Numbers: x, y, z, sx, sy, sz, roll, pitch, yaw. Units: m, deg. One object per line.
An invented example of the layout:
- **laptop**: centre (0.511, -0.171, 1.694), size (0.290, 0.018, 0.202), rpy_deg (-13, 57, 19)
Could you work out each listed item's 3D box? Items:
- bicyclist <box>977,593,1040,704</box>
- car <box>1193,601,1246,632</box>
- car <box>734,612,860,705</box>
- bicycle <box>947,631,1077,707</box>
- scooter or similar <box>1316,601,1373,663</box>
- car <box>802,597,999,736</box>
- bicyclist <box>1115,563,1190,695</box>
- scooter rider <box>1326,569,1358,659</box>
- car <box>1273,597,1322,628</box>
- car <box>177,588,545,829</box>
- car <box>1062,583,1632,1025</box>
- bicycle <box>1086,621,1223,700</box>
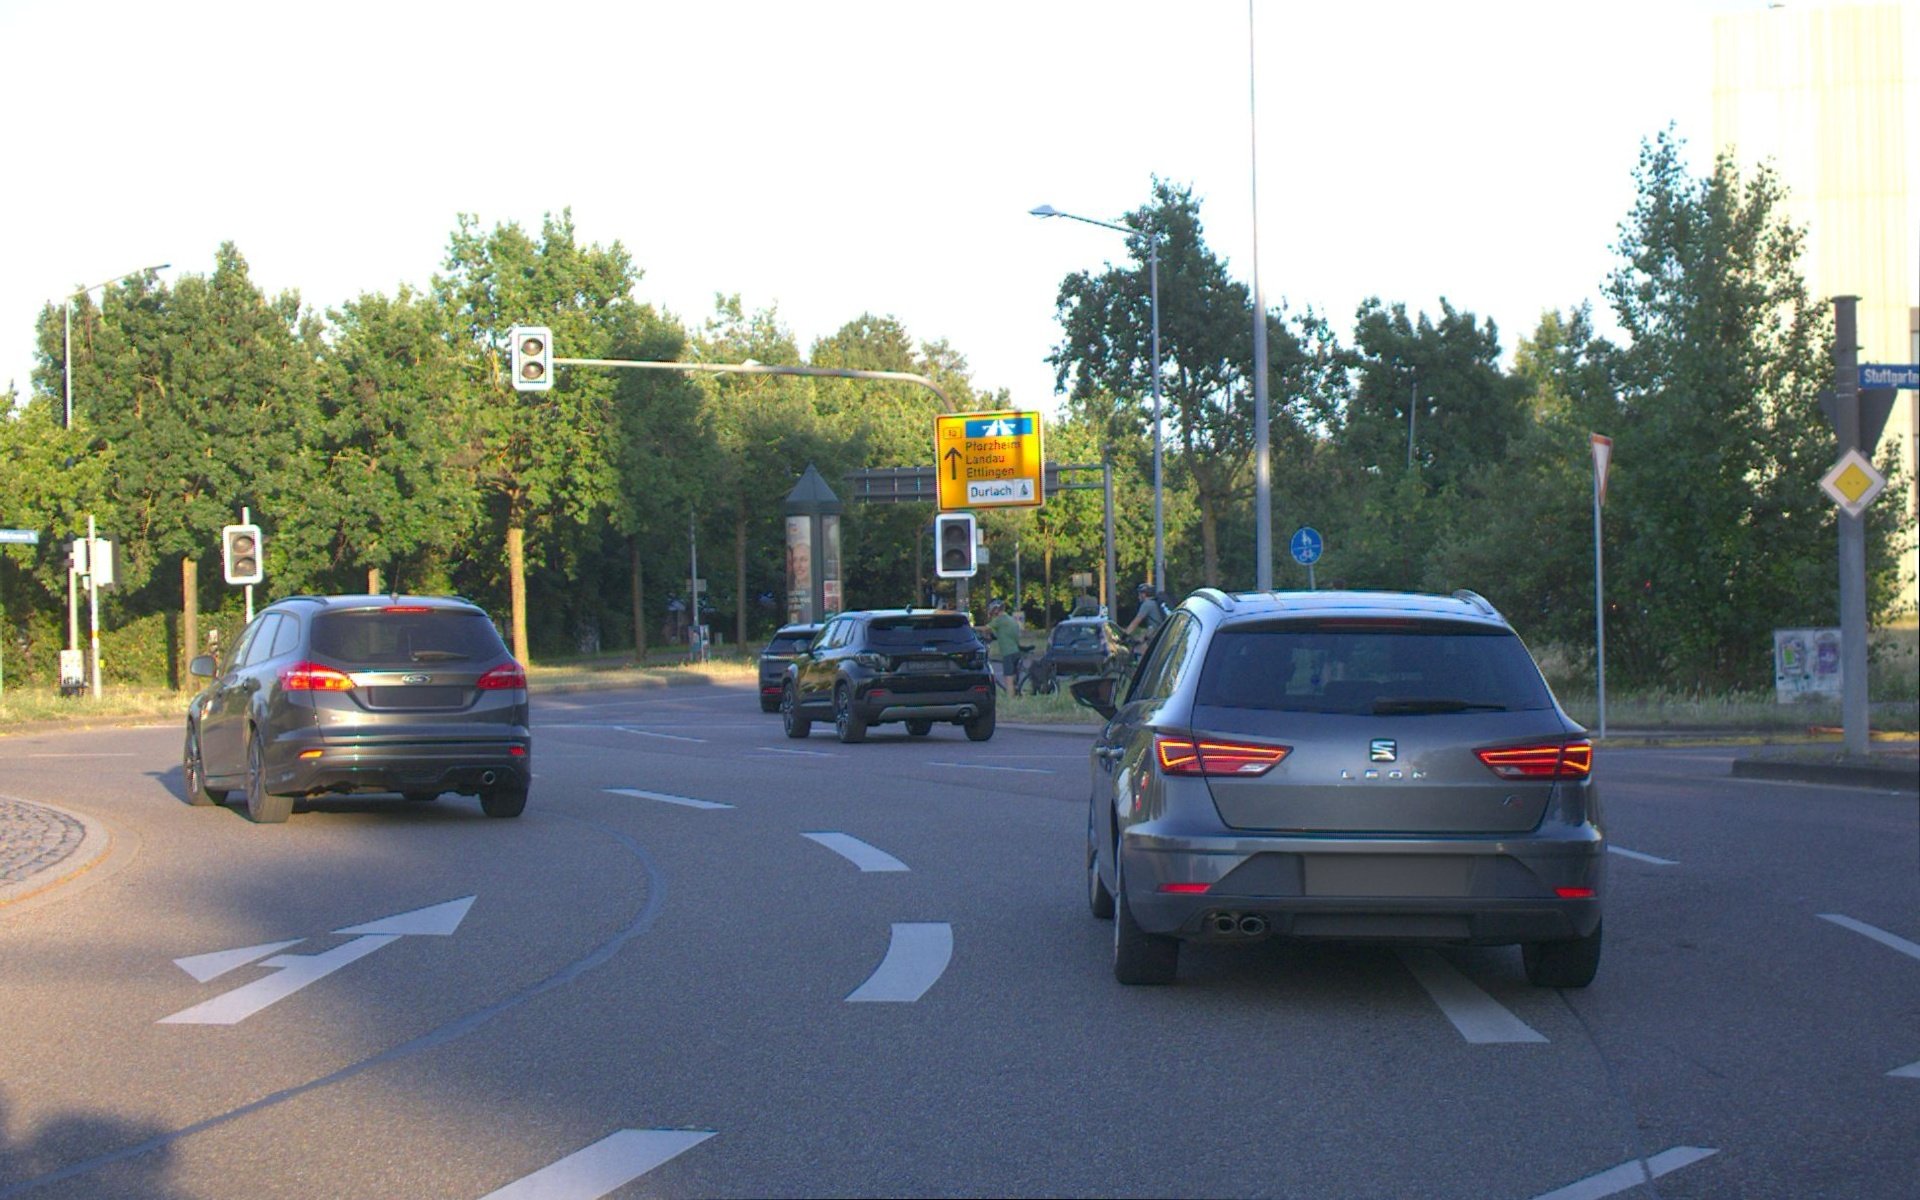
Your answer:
- **bicyclist**: centre (0.769, 0.759, 53.982), size (0.768, 1.696, 0.641), rpy_deg (-3, -1, 14)
- **car**: centre (12.568, 0.805, 166.171), size (1.723, 1.444, 4.546), rpy_deg (-1, 0, 15)
- **car**: centre (-2.798, 0.986, 59.745), size (1.746, 1.483, 4.134), rpy_deg (-1, 1, 4)
- **bicycle**: centre (0.812, 1.076, 53.907), size (1.923, 1.081, 0.456), rpy_deg (-3, -1, 14)
- **scooter or similar**: centre (5.706, 0.476, 51.059), size (0.246, 0.911, 1.039), rpy_deg (-1, 0, -31)
- **car**: centre (-0.757, 0.744, 40.607), size (1.812, 1.520, 4.136), rpy_deg (-1, 0, -8)
- **bicyclist**: centre (2.837, 0.424, 50.652), size (0.907, 1.891, 0.641), rpy_deg (-3, -1, 14)
- **scooter rider**: centre (5.676, 0.209, 51.036), size (0.264, 1.334, 0.406), rpy_deg (-1, 0, -31)
- **car**: centre (18.369, 0.697, 186.751), size (1.799, 1.627, 4.452), rpy_deg (-2, -1, 17)
- **car**: centre (-4.163, 0.662, 23.391), size (1.745, 1.461, 4.136), rpy_deg (-1, 0, -20)
- **car**: centre (1.330, 0.660, 13.344), size (1.746, 1.419, 4.135), rpy_deg (-1, 0, 0)
- **bicycle**: centre (2.864, 0.887, 50.717), size (1.923, 1.081, 0.456), rpy_deg (-3, 0, 14)
